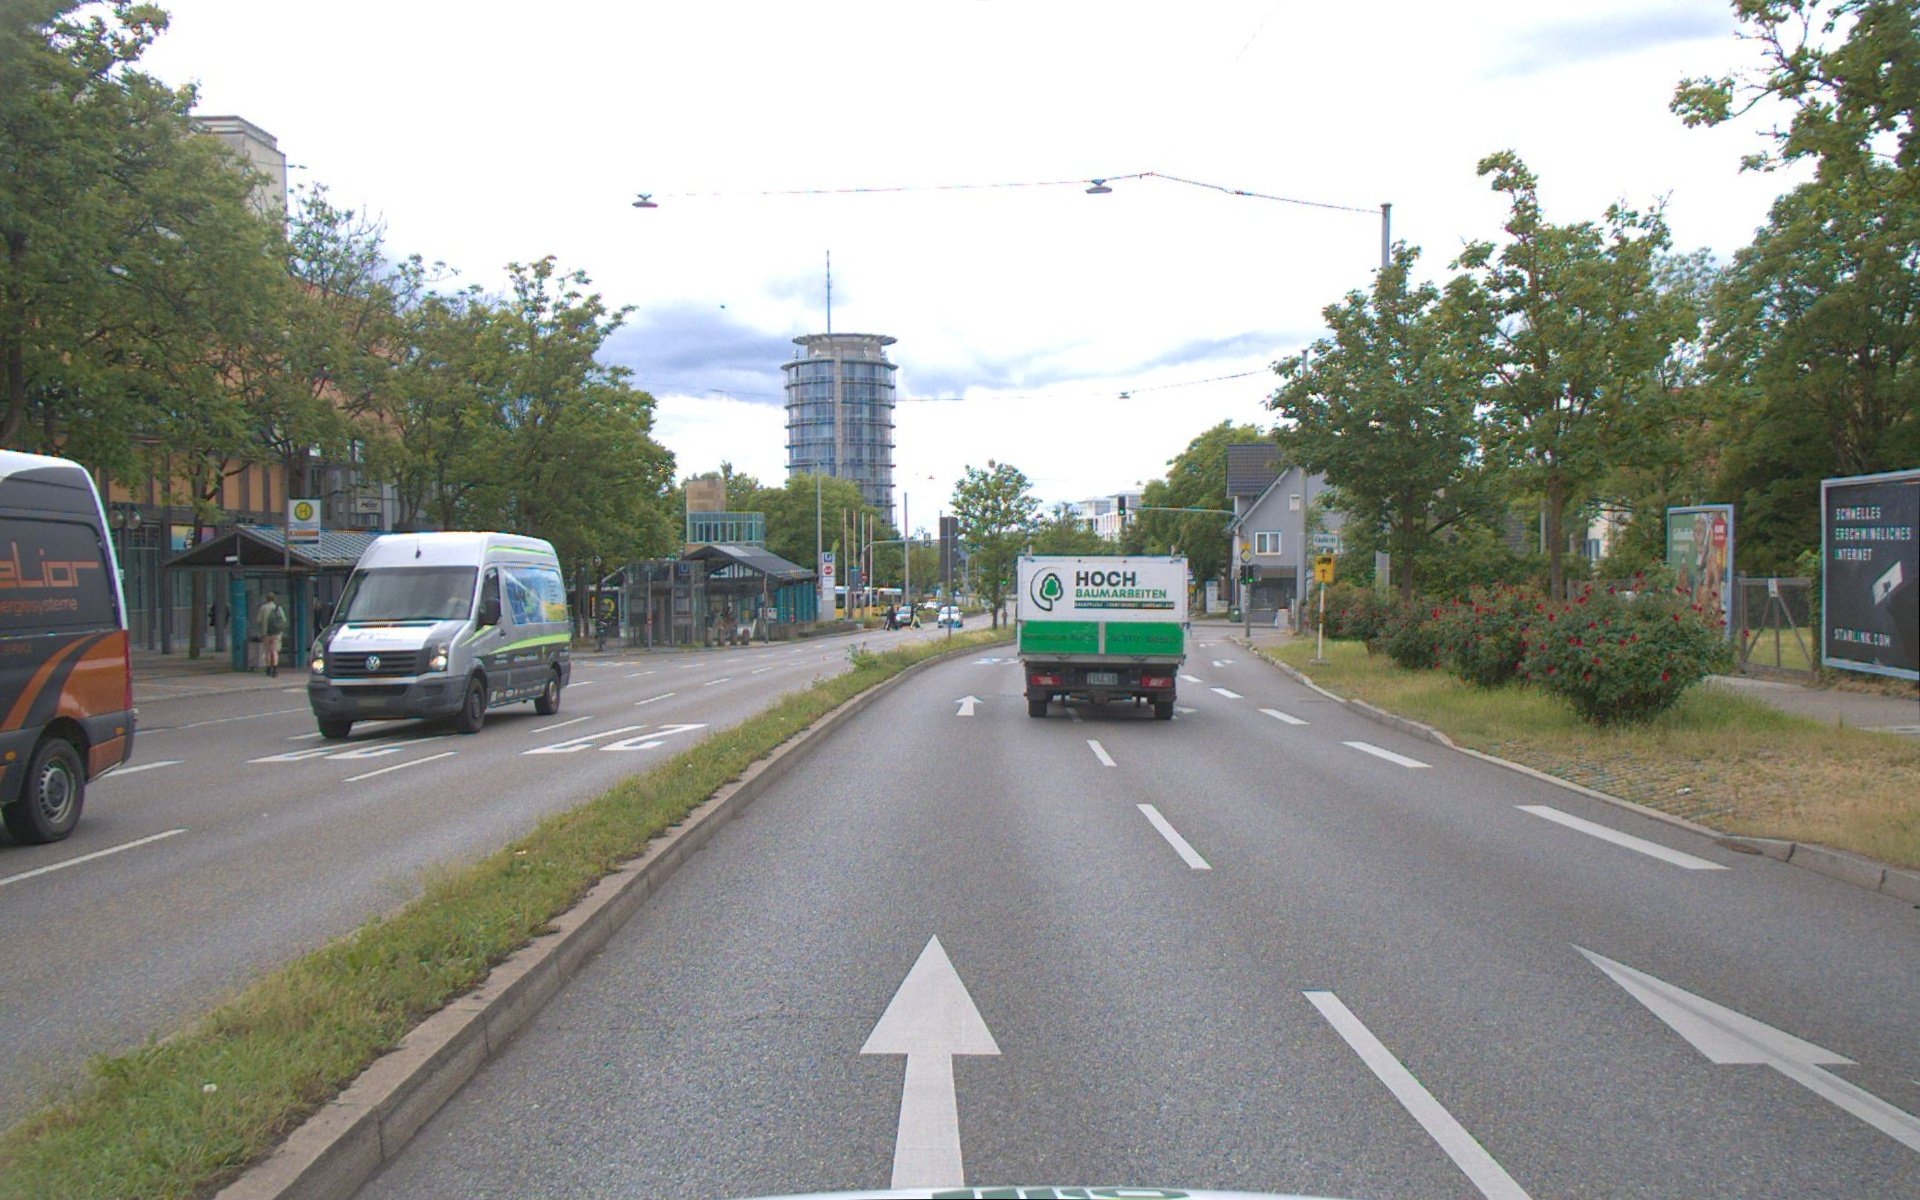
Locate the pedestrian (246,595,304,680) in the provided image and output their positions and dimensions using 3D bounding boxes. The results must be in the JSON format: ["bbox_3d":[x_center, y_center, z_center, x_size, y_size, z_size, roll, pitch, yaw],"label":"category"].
[{"bbox_3d":[-15.320,0.841,37.024,0.689,1.854,1.214,1,-1,4],"label":"pedestrian"}]

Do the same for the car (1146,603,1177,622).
[{"bbox_3d":[16.610,1.035,136.624,1.953,1.579,3.999,-1,0,-1],"label":"car"}]

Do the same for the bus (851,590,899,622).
[{"bbox_3d":[-9.435,0.715,185.667,2.771,3.491,10.742,-1,-1,11],"label":"bus"}]

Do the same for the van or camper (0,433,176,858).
[{"bbox_3d":[-6.964,0.320,9.427,1.953,2.643,6.116,-3,0,0],"label":"van or camper"}]

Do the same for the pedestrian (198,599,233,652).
[{"bbox_3d":[-24.930,0.846,55.395,0.754,1.746,0.822,1,0,2],"label":"pedestrian"}]

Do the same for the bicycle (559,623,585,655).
[{"bbox_3d":[-14.560,1.443,62.086,0.700,1.156,1.953,-1,0,-7],"label":"bicycle"}]

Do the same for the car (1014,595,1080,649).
[{"bbox_3d":[3.153,0.770,59.355,1.951,1.862,4.003,0,0,9],"label":"car"}]

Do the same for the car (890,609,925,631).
[{"bbox_3d":[-3.817,1.453,121.127,1.951,1.512,4.003,-1,-1,6],"label":"car"}]

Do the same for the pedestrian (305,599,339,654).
[{"bbox_3d":[-24.164,1.009,62.612,0.877,2.049,0.934,-1,-1,1],"label":"pedestrian"}]

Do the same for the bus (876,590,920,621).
[{"bbox_3d":[-7.315,0.686,196.226,2.771,3.491,10.742,-1,-1,11],"label":"bus"}]

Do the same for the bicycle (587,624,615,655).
[{"bbox_3d":[-13.470,1.481,62.105,0.814,1.102,1.933,-1,0,-6],"label":"bicycle"}]

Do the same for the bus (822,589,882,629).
[{"bbox_3d":[-9.982,0.857,153.723,2.771,3.491,10.742,-1,-1,11],"label":"bus"}]

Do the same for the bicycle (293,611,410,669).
[{"bbox_3d":[-16.807,1.094,45.712,2.840,1.533,0.972,1,0,-1],"label":"bicycle"}]

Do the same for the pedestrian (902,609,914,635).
[{"bbox_3d":[-3.455,1.454,110.191,0.730,1.746,0.583,-1,-1,1],"label":"pedestrian"}]

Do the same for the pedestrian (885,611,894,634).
[{"bbox_3d":[-4.742,1.516,111.167,0.531,1.522,0.487,-1,-1,6],"label":"pedestrian"}]

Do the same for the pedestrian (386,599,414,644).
[{"bbox_3d":[-22.094,0.827,65.268,0.754,1.746,0.887,1,0,-1],"label":"pedestrian"}]

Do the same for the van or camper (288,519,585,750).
[{"bbox_3d":[-6.877,0.393,22.603,1.991,2.643,6.116,-3,0,0],"label":"van or camper"}]

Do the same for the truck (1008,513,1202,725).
[{"bbox_3d":[2.101,0.190,24.147,2.418,2.657,6.552,0,1,5],"label":"truck"}]

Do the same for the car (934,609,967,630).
[{"bbox_3d":[-0.691,1.407,120.491,1.951,1.512,4.003,-1,-1,6],"label":"car"}]

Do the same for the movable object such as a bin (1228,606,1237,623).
[{"bbox_3d":[18.242,0.962,110.683,0.591,1.078,0.590,1,-1,9],"label":"movable object such as a bin"}]

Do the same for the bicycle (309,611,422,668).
[{"bbox_3d":[-16.771,1.096,46.740,2.840,1.533,0.891,-1,0,-1],"label":"bicycle"}]

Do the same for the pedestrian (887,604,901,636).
[{"bbox_3d":[-4.398,1.331,110.103,0.813,2.049,0.546,-1,-1,1],"label":"pedestrian"}]

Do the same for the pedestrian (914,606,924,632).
[{"bbox_3d":[-2.727,1.256,109.711,0.640,1.746,0.452,-1,-1,1],"label":"pedestrian"}]
